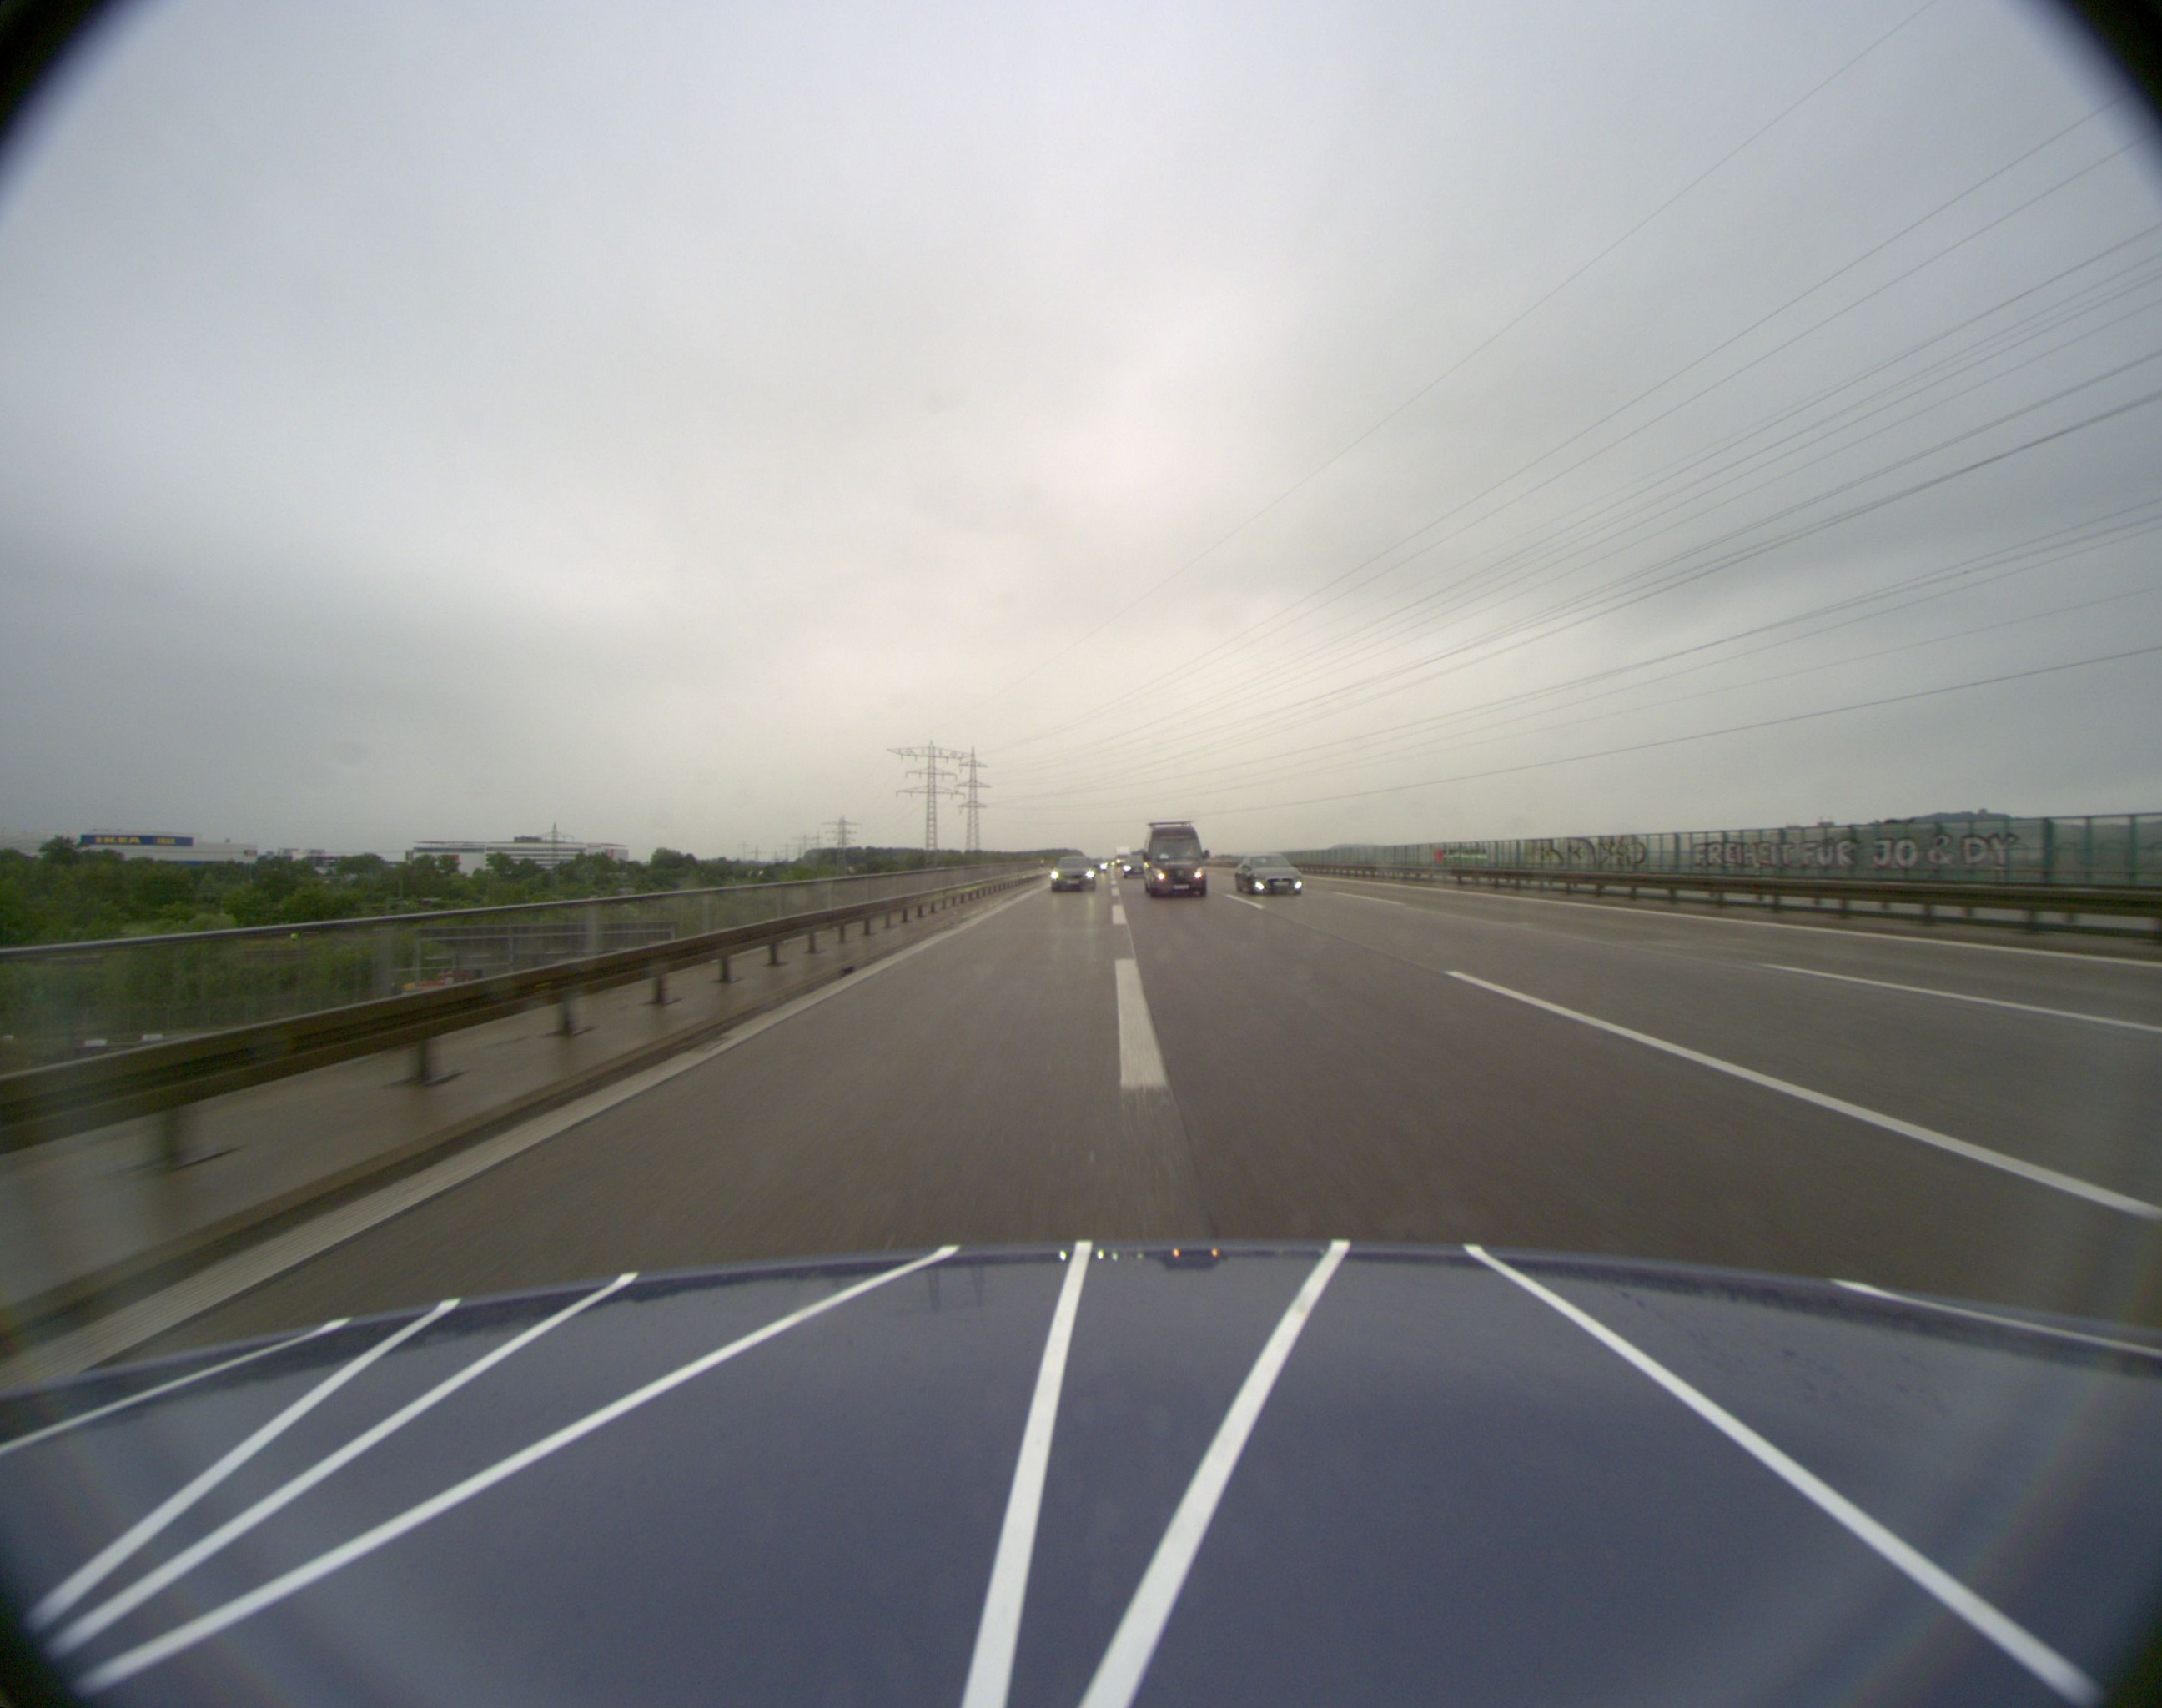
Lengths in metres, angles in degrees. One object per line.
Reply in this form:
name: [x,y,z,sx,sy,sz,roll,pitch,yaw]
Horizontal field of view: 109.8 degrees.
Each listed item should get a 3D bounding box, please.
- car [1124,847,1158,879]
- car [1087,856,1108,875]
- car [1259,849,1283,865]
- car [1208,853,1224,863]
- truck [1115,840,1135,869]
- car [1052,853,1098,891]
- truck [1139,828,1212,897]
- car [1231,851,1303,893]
car: [4.069,0.600,52.513,1.998,2.002,4.785,-2,0,1]
car: [1.618,1.049,72.952,1.998,1.706,4.000,1,1,2]
car: [25.943,0.371,103.984,1.998,2.002,5.011,-2,1,1]
car: [22.729,0.650,128.010,1.998,1.549,4.214,-2,1,1]
truck: [6.716,0.088,116.715,2.703,4.171,8.925,-2,-1,1]
car: [-0.208,0.770,34.079,1.862,1.531,4.203,-2,0,1]
truck: [3.414,0.227,28.704,1.998,2.324,6.109,-1,1,0]
car: [6.766,0.644,28.139,1.729,1.394,4.830,-2,-1,4]
